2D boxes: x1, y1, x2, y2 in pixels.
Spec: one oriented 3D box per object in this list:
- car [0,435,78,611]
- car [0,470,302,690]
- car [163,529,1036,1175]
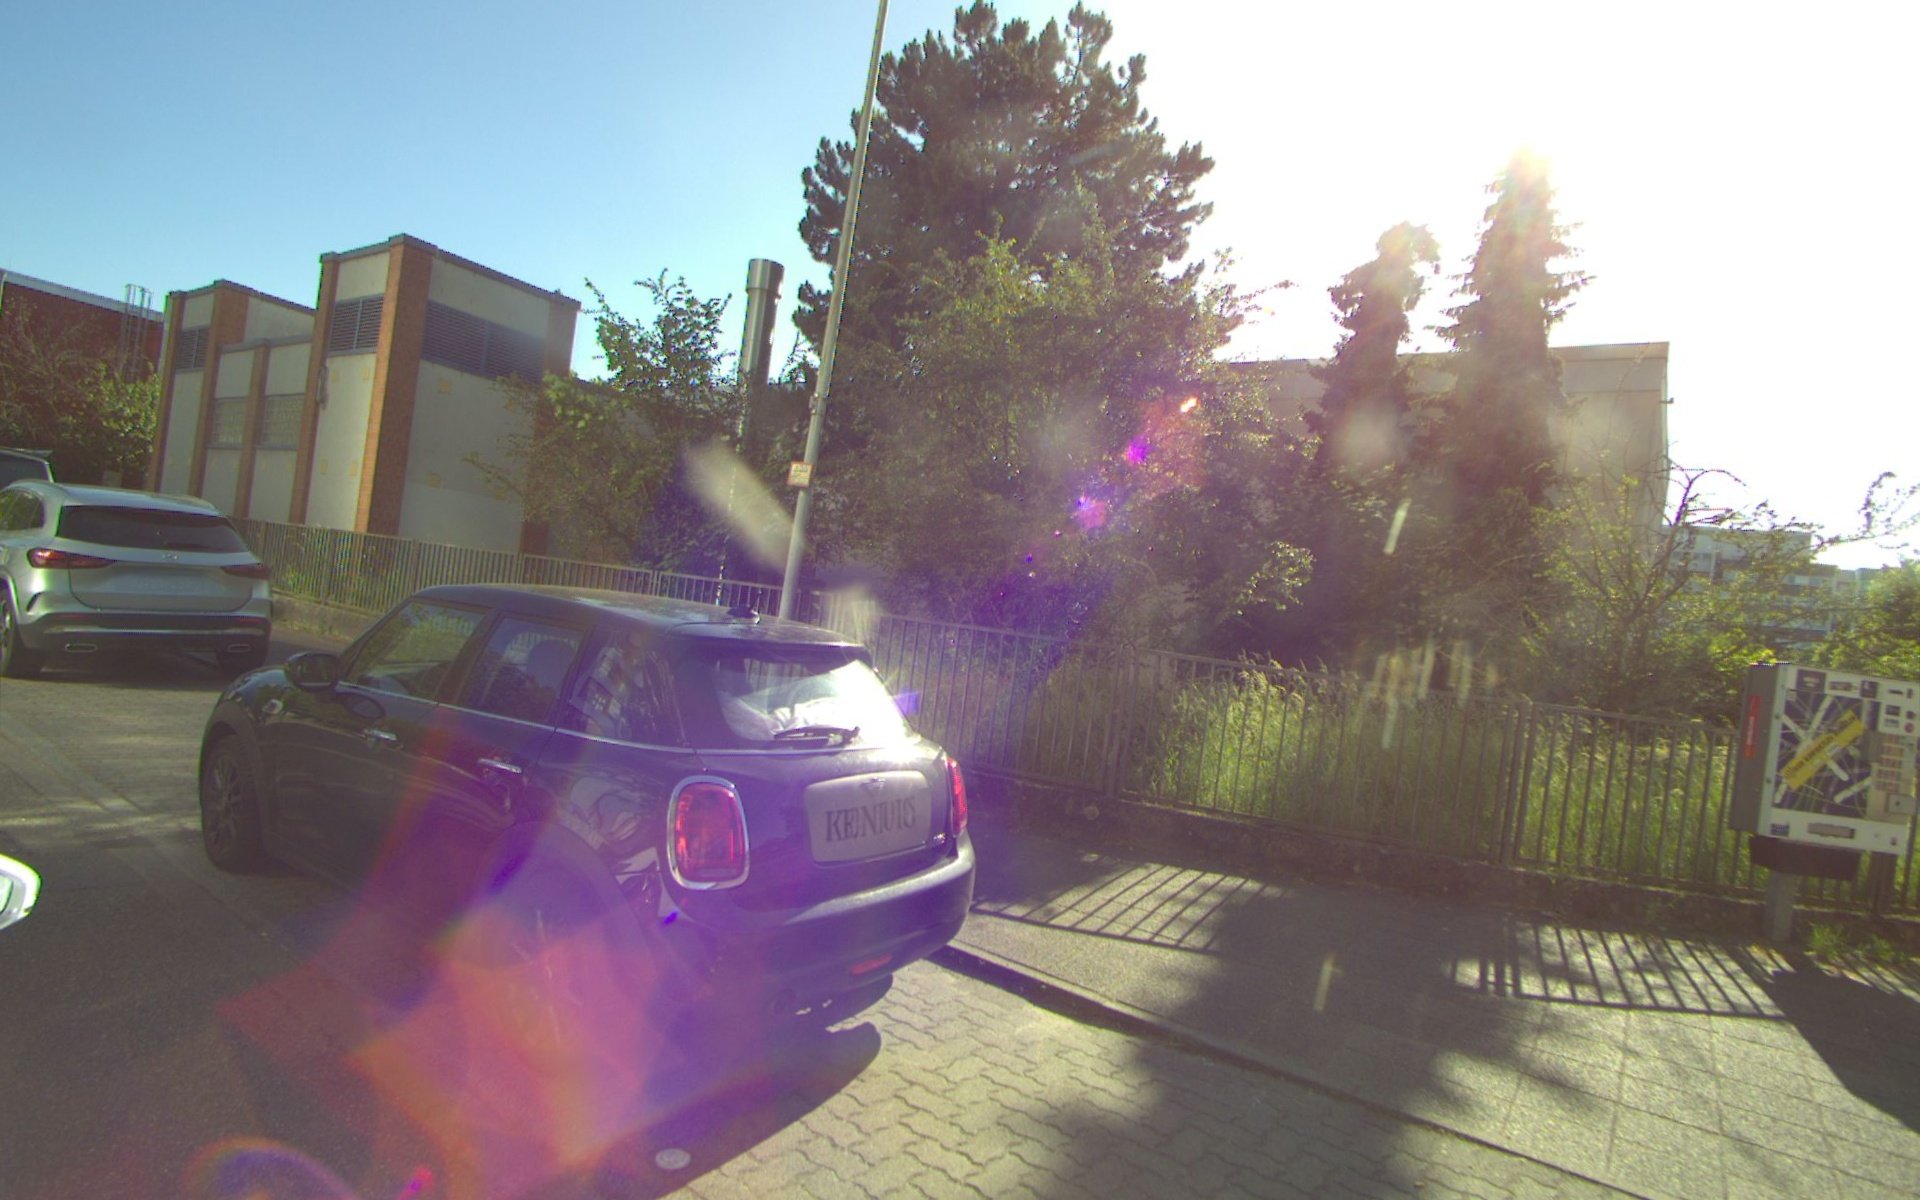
[{"bbox_3d":[-13.558,-1.188,13.156,4.750,2.047,1.943,7,0,36],"label":"car"},{"bbox_3d":[-8.240,-0.278,9.586,4.227,1.650,1.825,7,1,36],"label":"car"},{"bbox_3d":[-1.749,0.643,4.375,3.705,1.491,1.652,7,1,35],"label":"car"}]
